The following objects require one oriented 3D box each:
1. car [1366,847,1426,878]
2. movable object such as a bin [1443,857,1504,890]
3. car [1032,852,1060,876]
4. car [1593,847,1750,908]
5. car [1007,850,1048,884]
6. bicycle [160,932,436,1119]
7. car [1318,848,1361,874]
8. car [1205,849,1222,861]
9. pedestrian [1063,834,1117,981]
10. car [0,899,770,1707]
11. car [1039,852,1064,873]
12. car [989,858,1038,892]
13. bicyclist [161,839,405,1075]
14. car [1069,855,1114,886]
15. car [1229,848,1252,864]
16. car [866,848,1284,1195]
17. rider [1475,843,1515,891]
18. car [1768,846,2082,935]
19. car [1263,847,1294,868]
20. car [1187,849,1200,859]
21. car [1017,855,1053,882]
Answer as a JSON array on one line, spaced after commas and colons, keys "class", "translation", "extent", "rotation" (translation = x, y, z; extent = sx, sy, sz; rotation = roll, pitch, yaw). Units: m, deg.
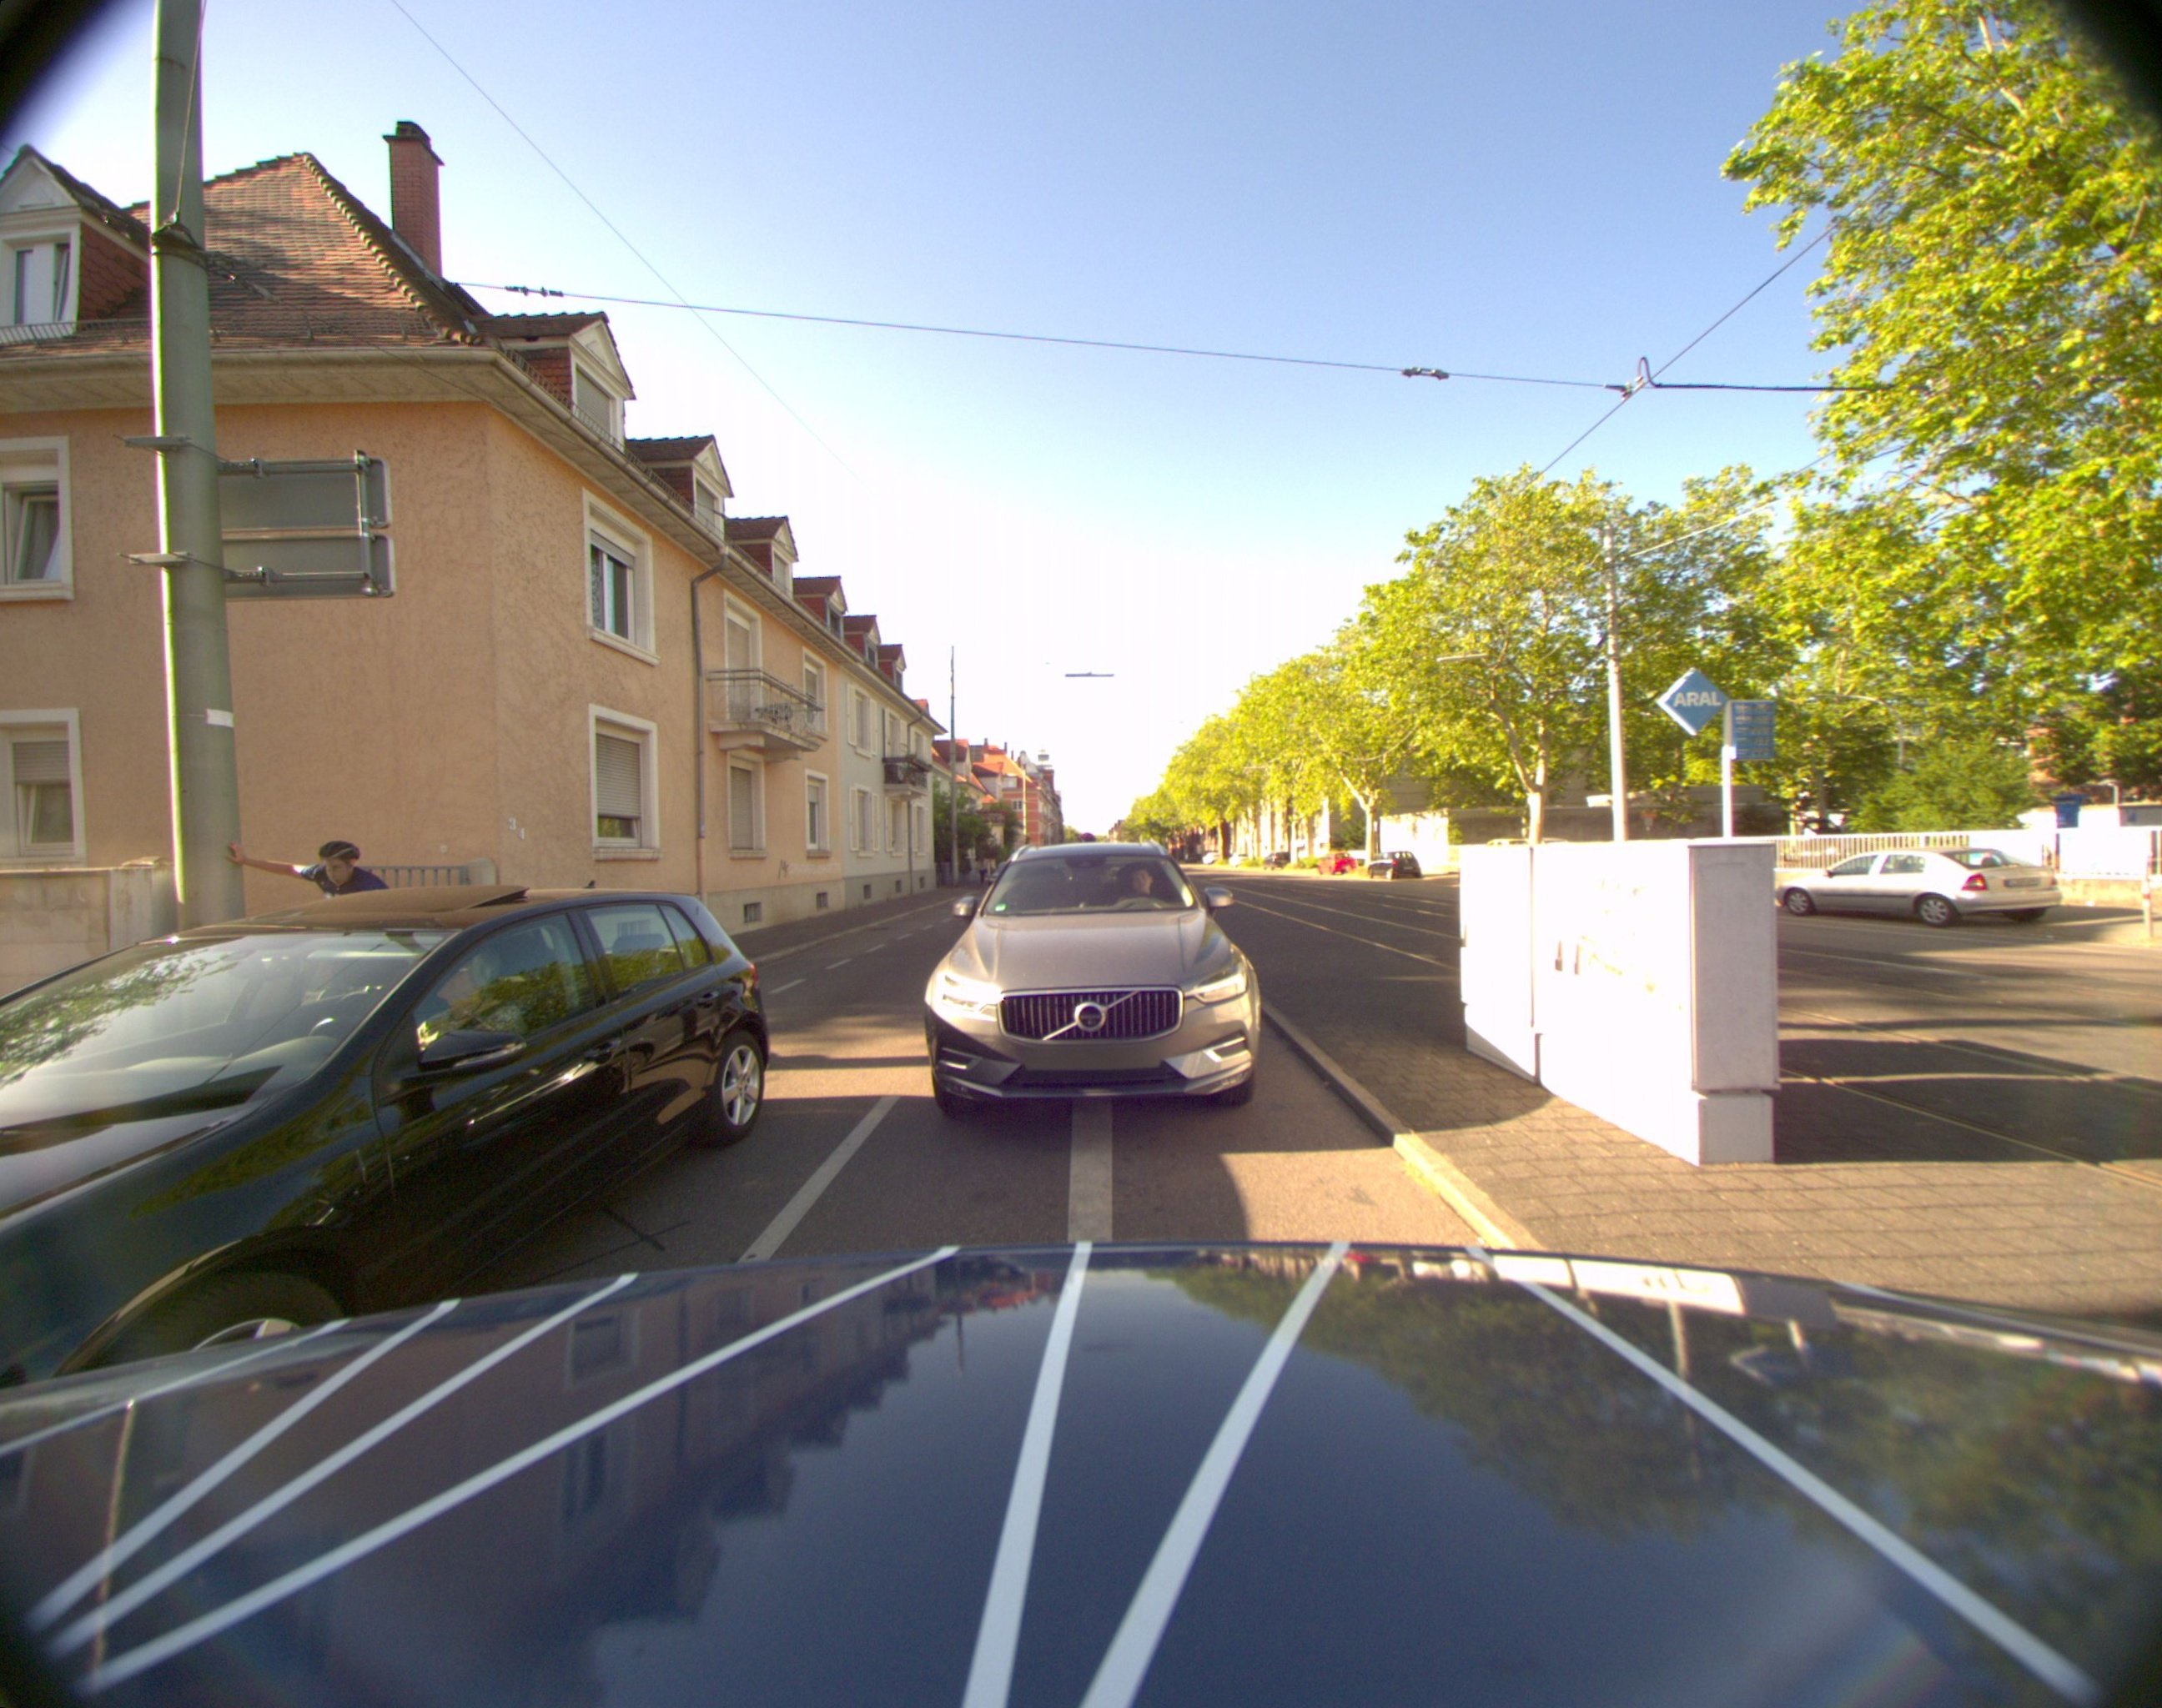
[{"class": "car", "translation": [16.838, 0.440, 40.793], "extent": [1.723, 1.436, 3.769], "rotation": [-5, 1, 3]}, {"class": "movable object such as a bin", "translation": [14.374, 0.708, 27.882], "extent": [1.178, 1.097, 1.834], "rotation": [-2, 1, -4]}, {"class": "car", "translation": [-2.779, 0.768, 60.916], "extent": [1.825, 1.701, 4.334], "rotation": [-2, 1, 1]}, {"class": "car", "translation": [16.408, 0.591, 21.352], "extent": [1.619, 1.436, 3.606], "rotation": [-5, 1, 3]}, {"class": "car", "translation": [-2.905, 0.686, 42.397], "extent": [1.825, 1.701, 4.334], "rotation": [-2, 1, 1]}, {"class": "bicycle", "translation": [-5.906, 1.232, 5.879], "extent": [0.556, 1.069, 1.624], "rotation": [2, 0, -7]}, {"class": "car", "translation": [16.968, 0.426, 50.003], "extent": [1.661, 1.486, 3.377], "rotation": [-5, 1, 3]}, {"class": "car", "translation": [17.578, 0.089, 100.684], "extent": [1.661, 1.452, 3.730], "rotation": [-5, 1, 3]}, {"class": "pedestrian", "translation": [0.114, 0.673, 9.844], "extent": [0.609, 1.832, 0.599], "rotation": [-2, 1, 1]}, {"class": "car", "translation": [-2.805, 1.044, 2.623], "extent": [1.717, 1.430, 3.990], "rotation": [-2, 1, 1]}, {"class": "car", "translation": [-2.592, 0.690, 67.282], "extent": [1.825, 1.701, 4.334], "rotation": [-2, 1, 1]}, {"class": "car", "translation": [-3.229, 0.961, 37.143], "extent": [1.825, 1.422, 4.334], "rotation": [-2, 1, 1]}, {"class": "bicyclist", "translation": [-6.078, 0.754, 5.848], "extent": [1.021, 1.684, 0.729], "rotation": [2, 0, -7]}, {"class": "car", "translation": [0.597, 0.816, 38.402], "extent": [1.825, 1.422, 4.492], "rotation": [-2, -1, 6]}, {"class": "car", "translation": [17.528, 0.242, 83.473], "extent": [1.754, 1.532, 3.878], "rotation": [-5, 1, 3]}, {"class": "car", "translation": [0.122, 0.797, 5.781], "extent": [1.924, 1.579, 4.387], "rotation": [-2, 1, 4]}, {"class": "rider", "translation": [14.498, 0.449, 26.621], "extent": [0.725, 1.639, 1.106], "rotation": [-2, 1, -4]}, {"class": "car", "translation": [16.200, 0.624, 14.955], "extent": [1.687, 1.358, 3.989], "rotation": [-6, 0, 1]}, {"class": "car", "translation": [17.117, 0.279, 65.920], "extent": [1.754, 1.582, 3.878], "rotation": [-5, 1, 3]}, {"class": "car", "translation": [18.559, 0.044, 125.560], "extent": [1.661, 1.452, 3.730], "rotation": [-5, 1, 3]}, {"class": "car", "translation": [-2.785, 0.865, 47.011], "extent": [1.825, 1.424, 4.334], "rotation": [-2, 1, 1]}]
